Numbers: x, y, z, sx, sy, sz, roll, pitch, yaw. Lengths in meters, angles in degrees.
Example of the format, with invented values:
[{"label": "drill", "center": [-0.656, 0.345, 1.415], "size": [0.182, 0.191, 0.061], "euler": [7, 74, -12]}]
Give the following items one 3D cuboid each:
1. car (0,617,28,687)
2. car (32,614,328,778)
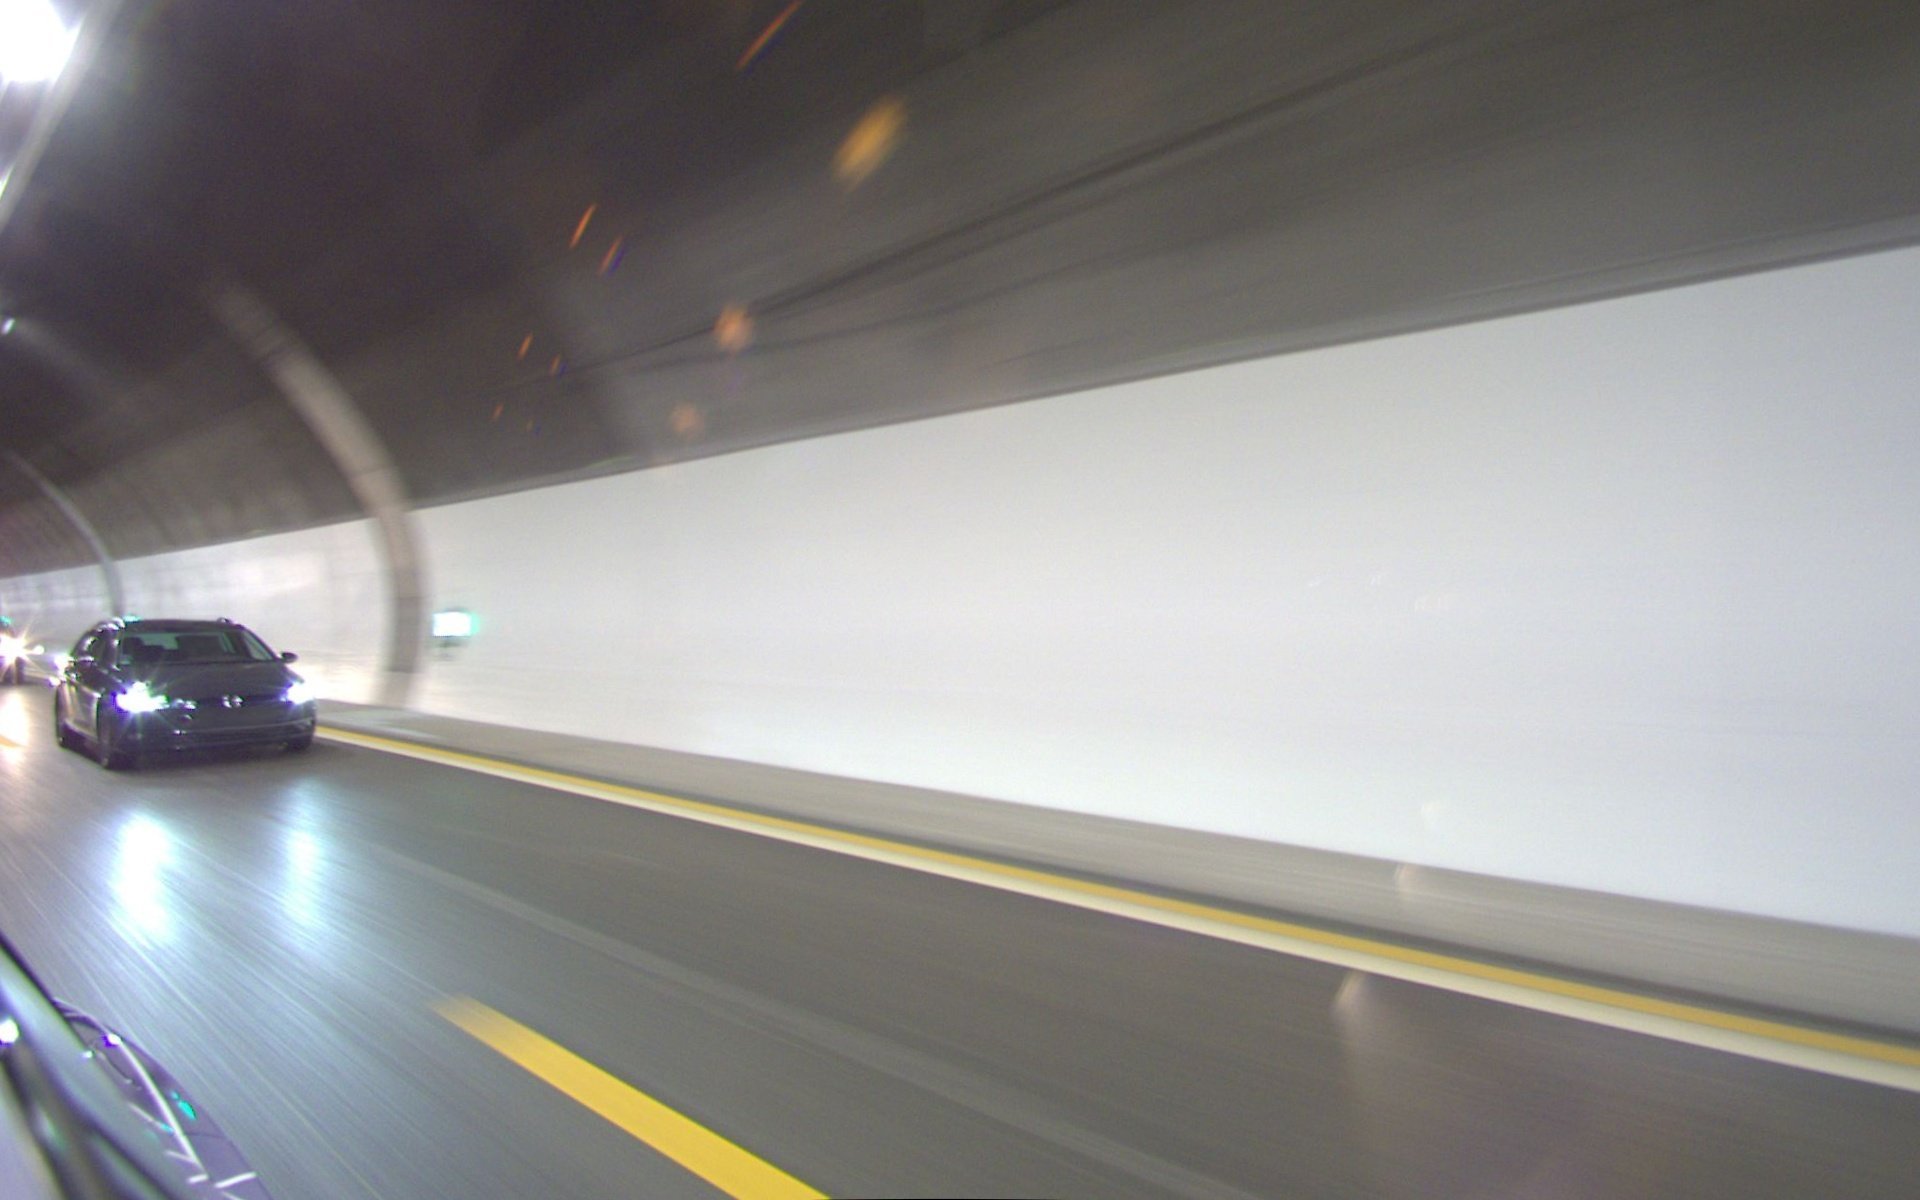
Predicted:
[{"label": "car", "center": [-22.305, 1.165, 22.835], "size": [2.648, 1.528, 1.512], "euler": [-1, -1, 39]}, {"label": "car", "center": [-8.960, 0.922, 11.447], "size": [4.880, 1.449, 1.759], "euler": [-1, -1, 41]}]
